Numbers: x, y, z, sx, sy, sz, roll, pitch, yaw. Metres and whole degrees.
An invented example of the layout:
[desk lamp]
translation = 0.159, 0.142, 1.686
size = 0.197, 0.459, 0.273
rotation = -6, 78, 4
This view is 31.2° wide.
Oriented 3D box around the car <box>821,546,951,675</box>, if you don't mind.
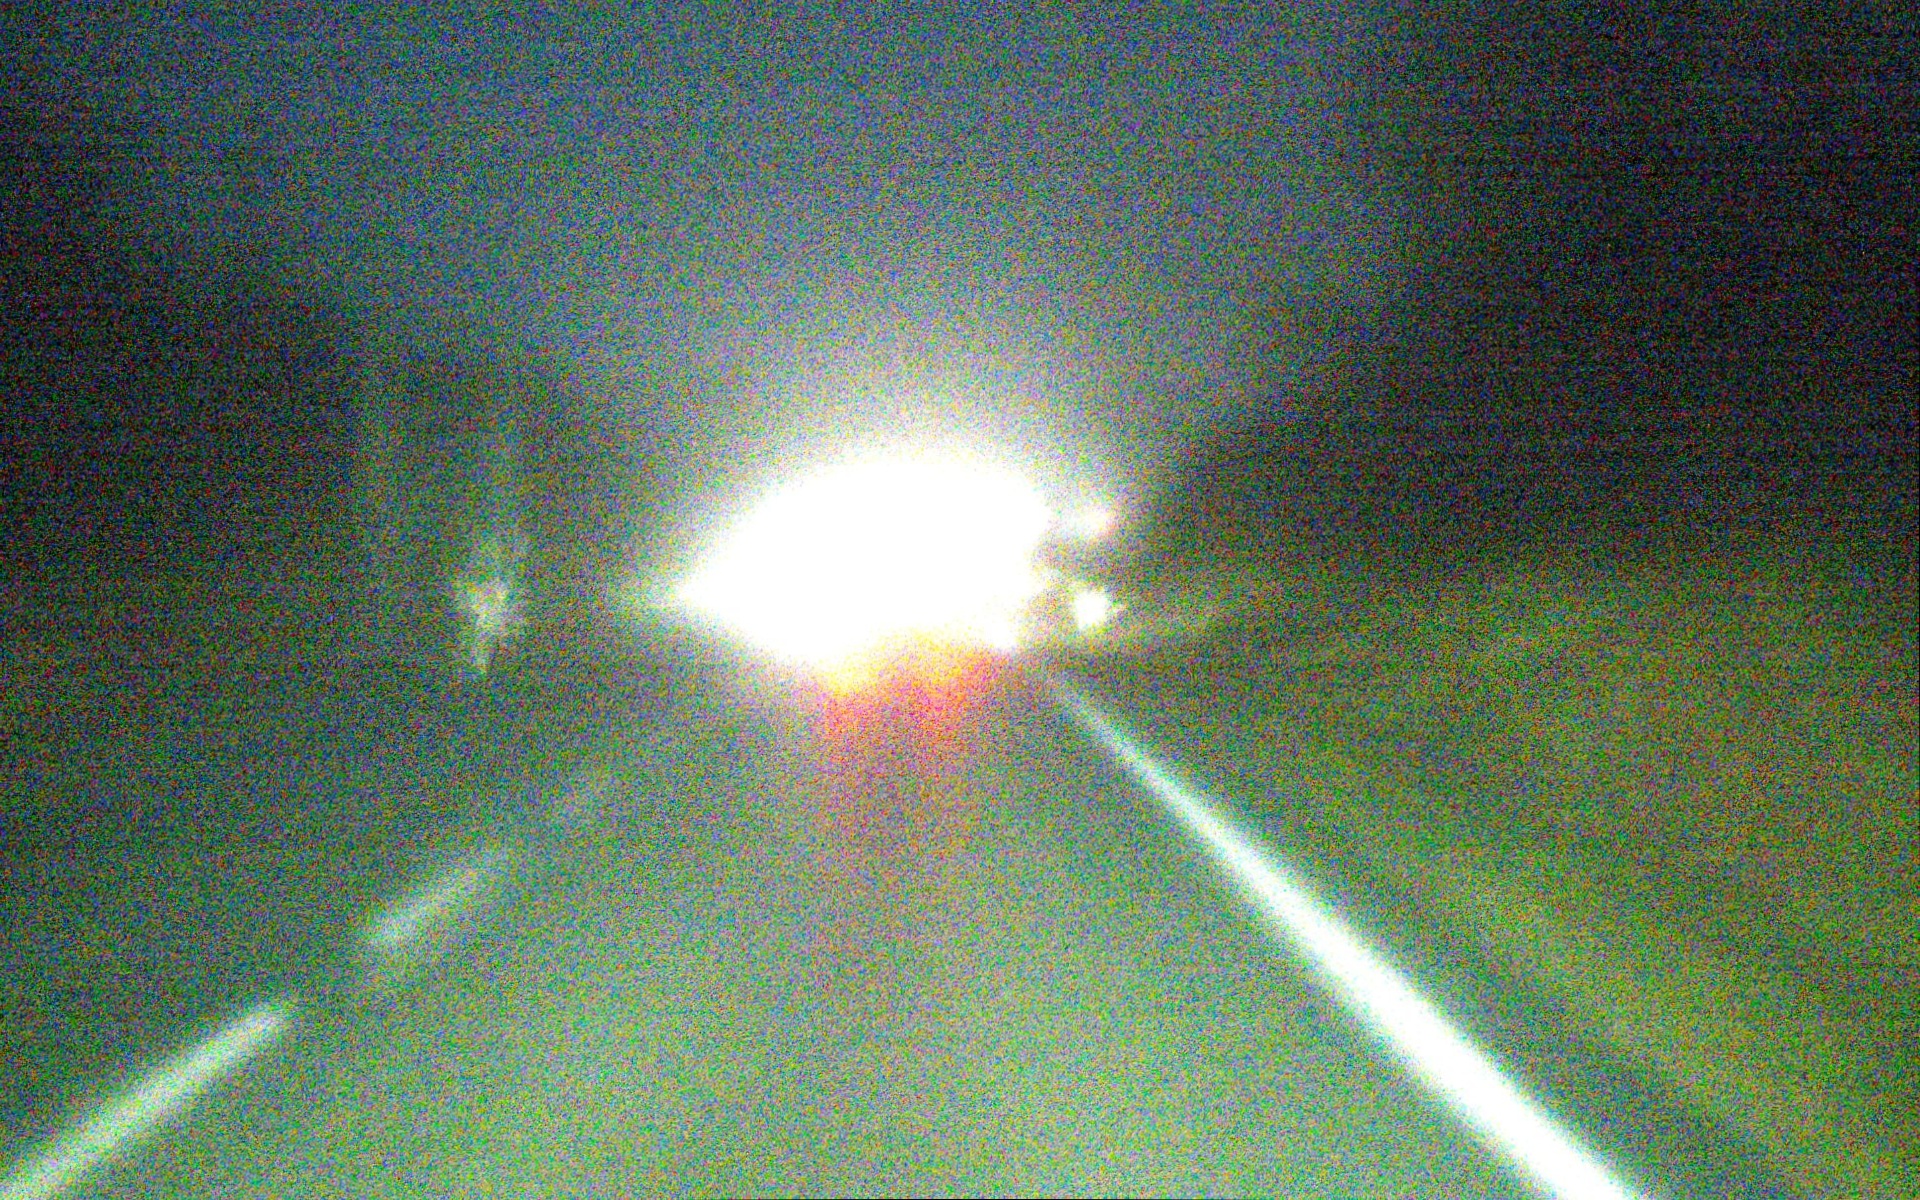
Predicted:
[car]
translation = -1.118, 0.118, 51.472
size = 1.842, 1.734, 4.001
rotation = 1, 2, -2
